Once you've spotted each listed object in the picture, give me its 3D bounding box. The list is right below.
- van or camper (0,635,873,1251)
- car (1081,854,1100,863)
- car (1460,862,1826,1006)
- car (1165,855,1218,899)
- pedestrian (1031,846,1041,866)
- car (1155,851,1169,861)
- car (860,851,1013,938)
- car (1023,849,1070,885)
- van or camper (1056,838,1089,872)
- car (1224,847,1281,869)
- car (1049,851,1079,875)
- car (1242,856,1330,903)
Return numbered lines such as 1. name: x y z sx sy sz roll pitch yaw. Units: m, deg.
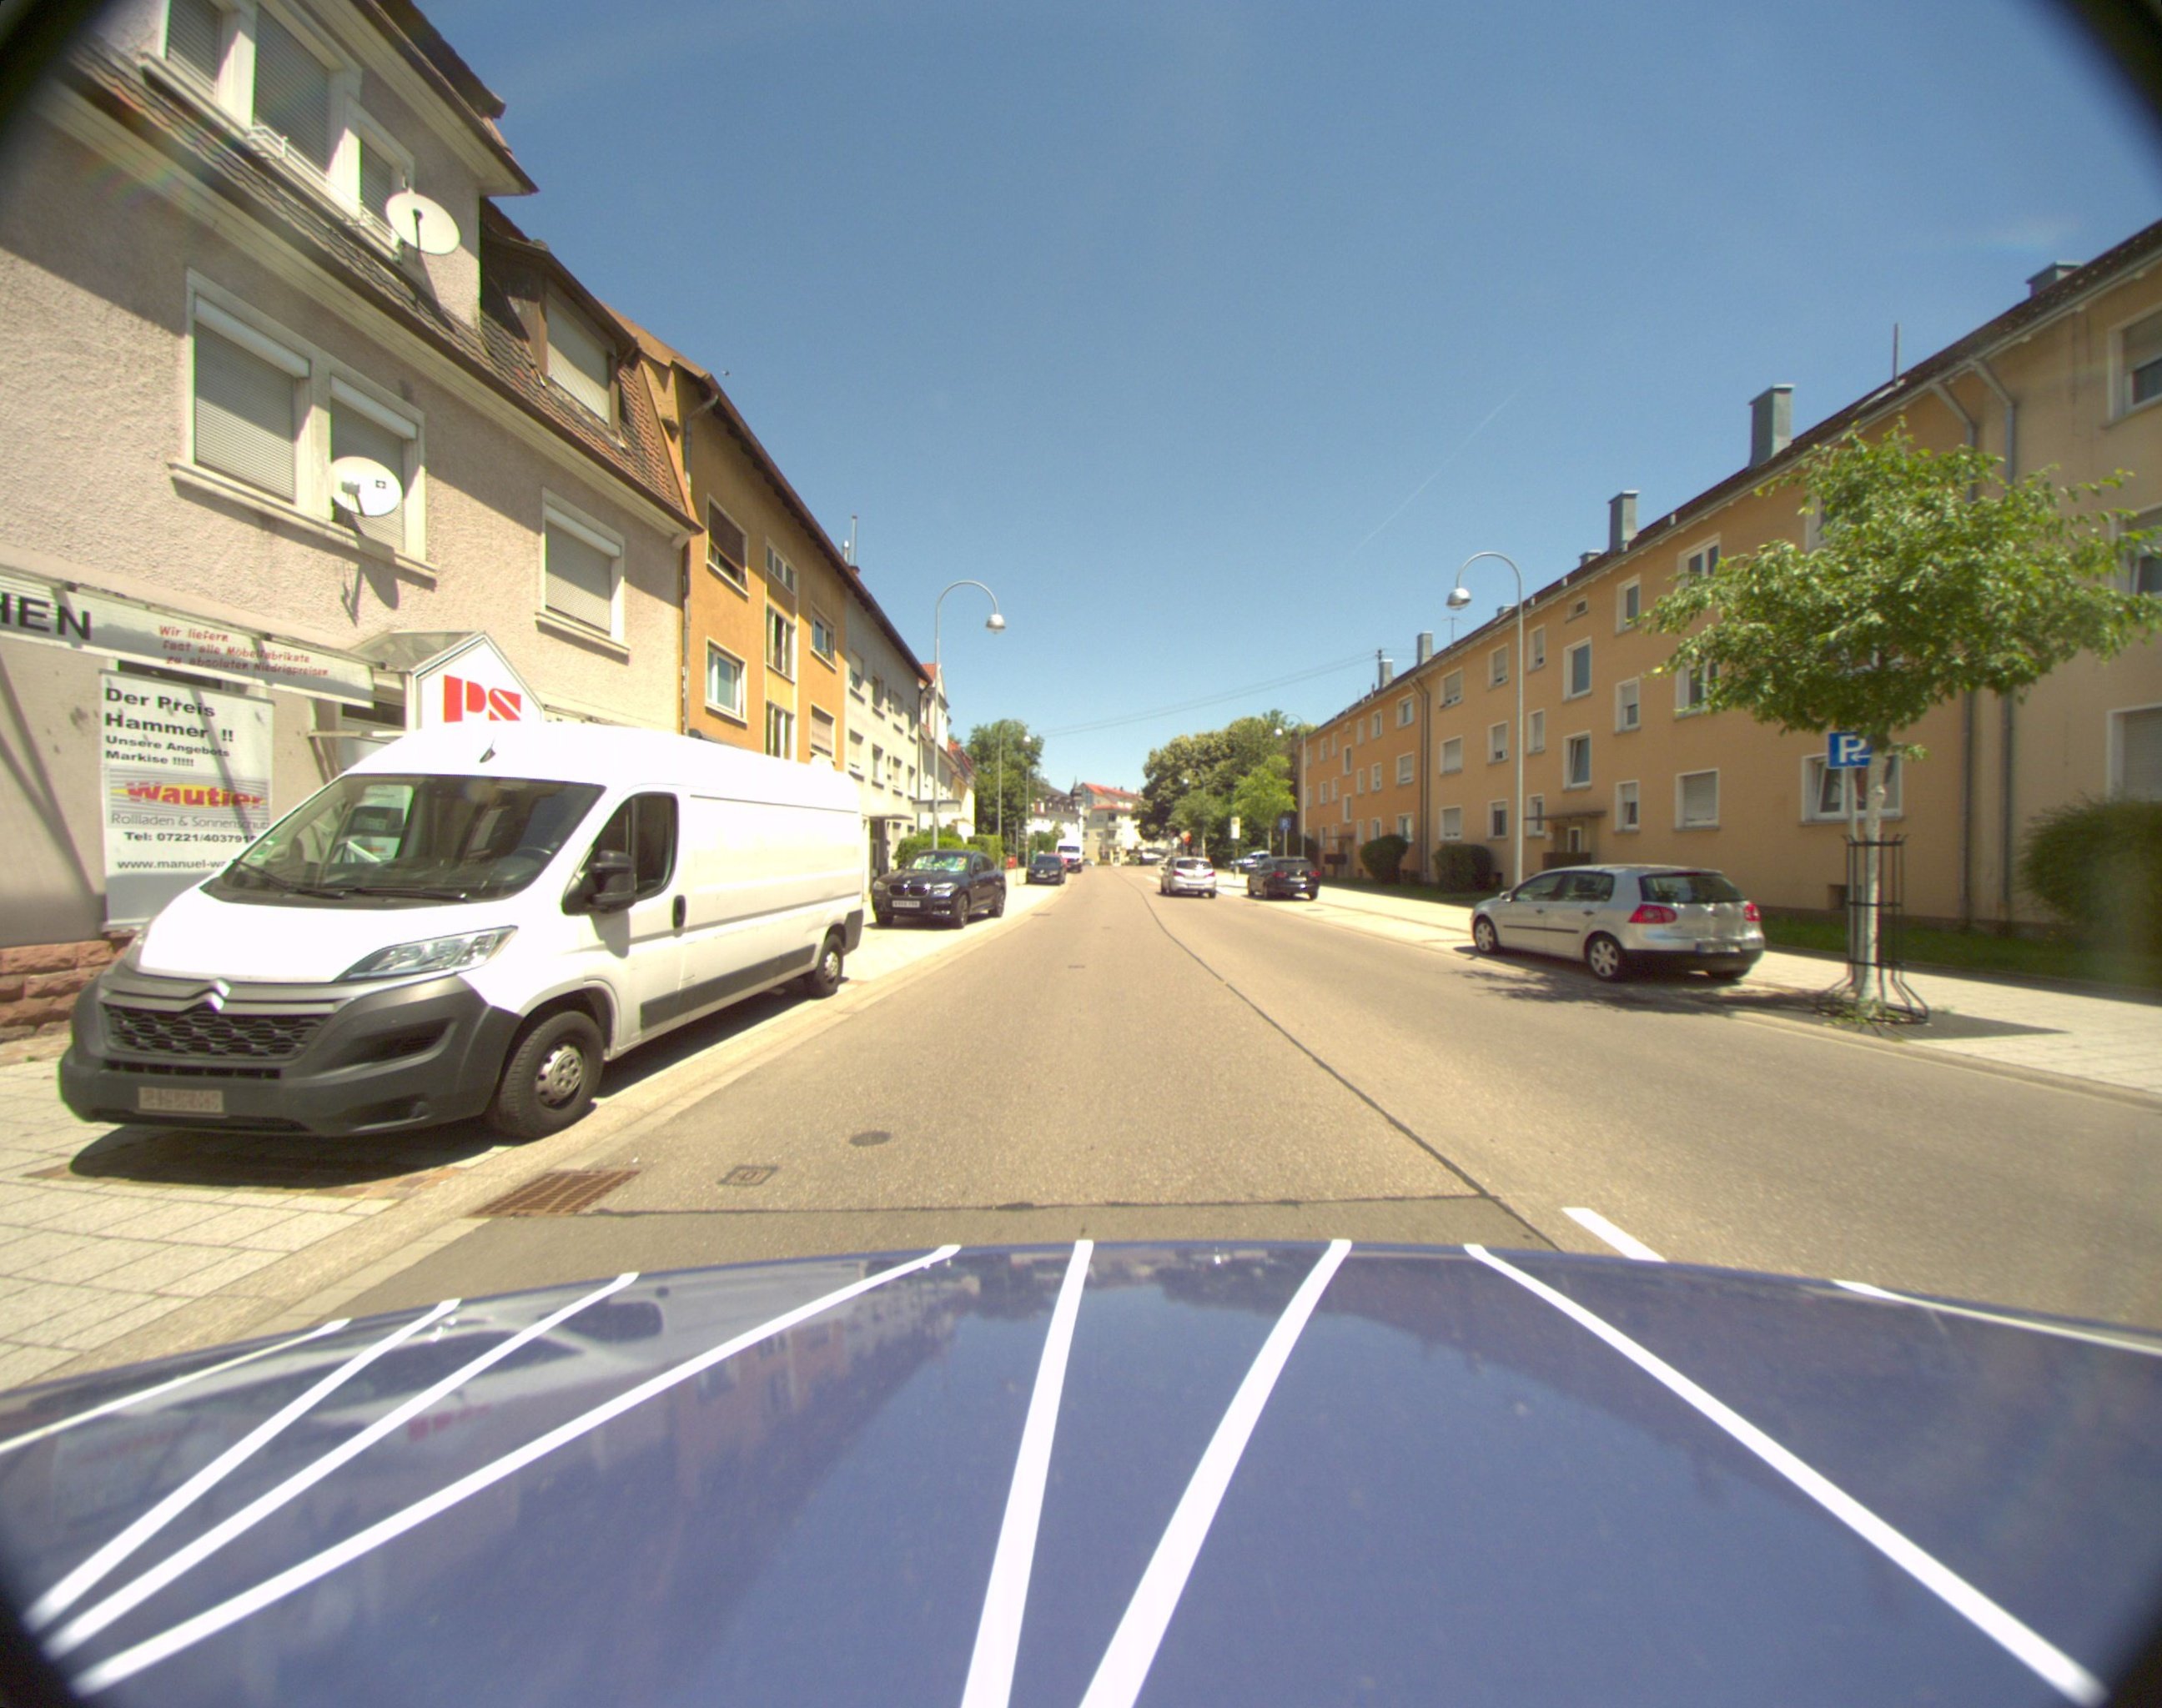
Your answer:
1. van or camper: -3.689 0.347 6.112 2.170 2.574 5.766 1 1 3
2. car: 1.742 0.762 135.785 3.038 1.444 1.570 -2 0 23
3. car: 7.357 0.924 10.599 1.999 1.412 4.086 -2 1 -2
4. car: 4.127 0.813 28.836 1.663 1.488 3.760 0 1 4
5. pedestrian: -3.783 0.157 64.003 0.522 1.696 0.803 3 0 -19
6. car: 12.788 0.320 120.329 1.998 1.498 4.289 1 0 3
7. car: -3.036 0.769 17.006 1.898 1.598 4.367 2 1 10
8. car: -1.655 0.610 37.488 1.732 1.623 4.001 3 0 5
9. van or camper: -0.726 -0.008 57.870 2.114 2.453 6.172 -1 1 -5
10. car: 14.642 0.310 65.067 4.438 1.863 1.817 0 1 -9
11. car: -1.093 0.546 50.559 1.808 1.521 4.150 1 1 0
12. car: 7.251 0.845 27.354 1.862 1.498 4.562 -2 0 0
